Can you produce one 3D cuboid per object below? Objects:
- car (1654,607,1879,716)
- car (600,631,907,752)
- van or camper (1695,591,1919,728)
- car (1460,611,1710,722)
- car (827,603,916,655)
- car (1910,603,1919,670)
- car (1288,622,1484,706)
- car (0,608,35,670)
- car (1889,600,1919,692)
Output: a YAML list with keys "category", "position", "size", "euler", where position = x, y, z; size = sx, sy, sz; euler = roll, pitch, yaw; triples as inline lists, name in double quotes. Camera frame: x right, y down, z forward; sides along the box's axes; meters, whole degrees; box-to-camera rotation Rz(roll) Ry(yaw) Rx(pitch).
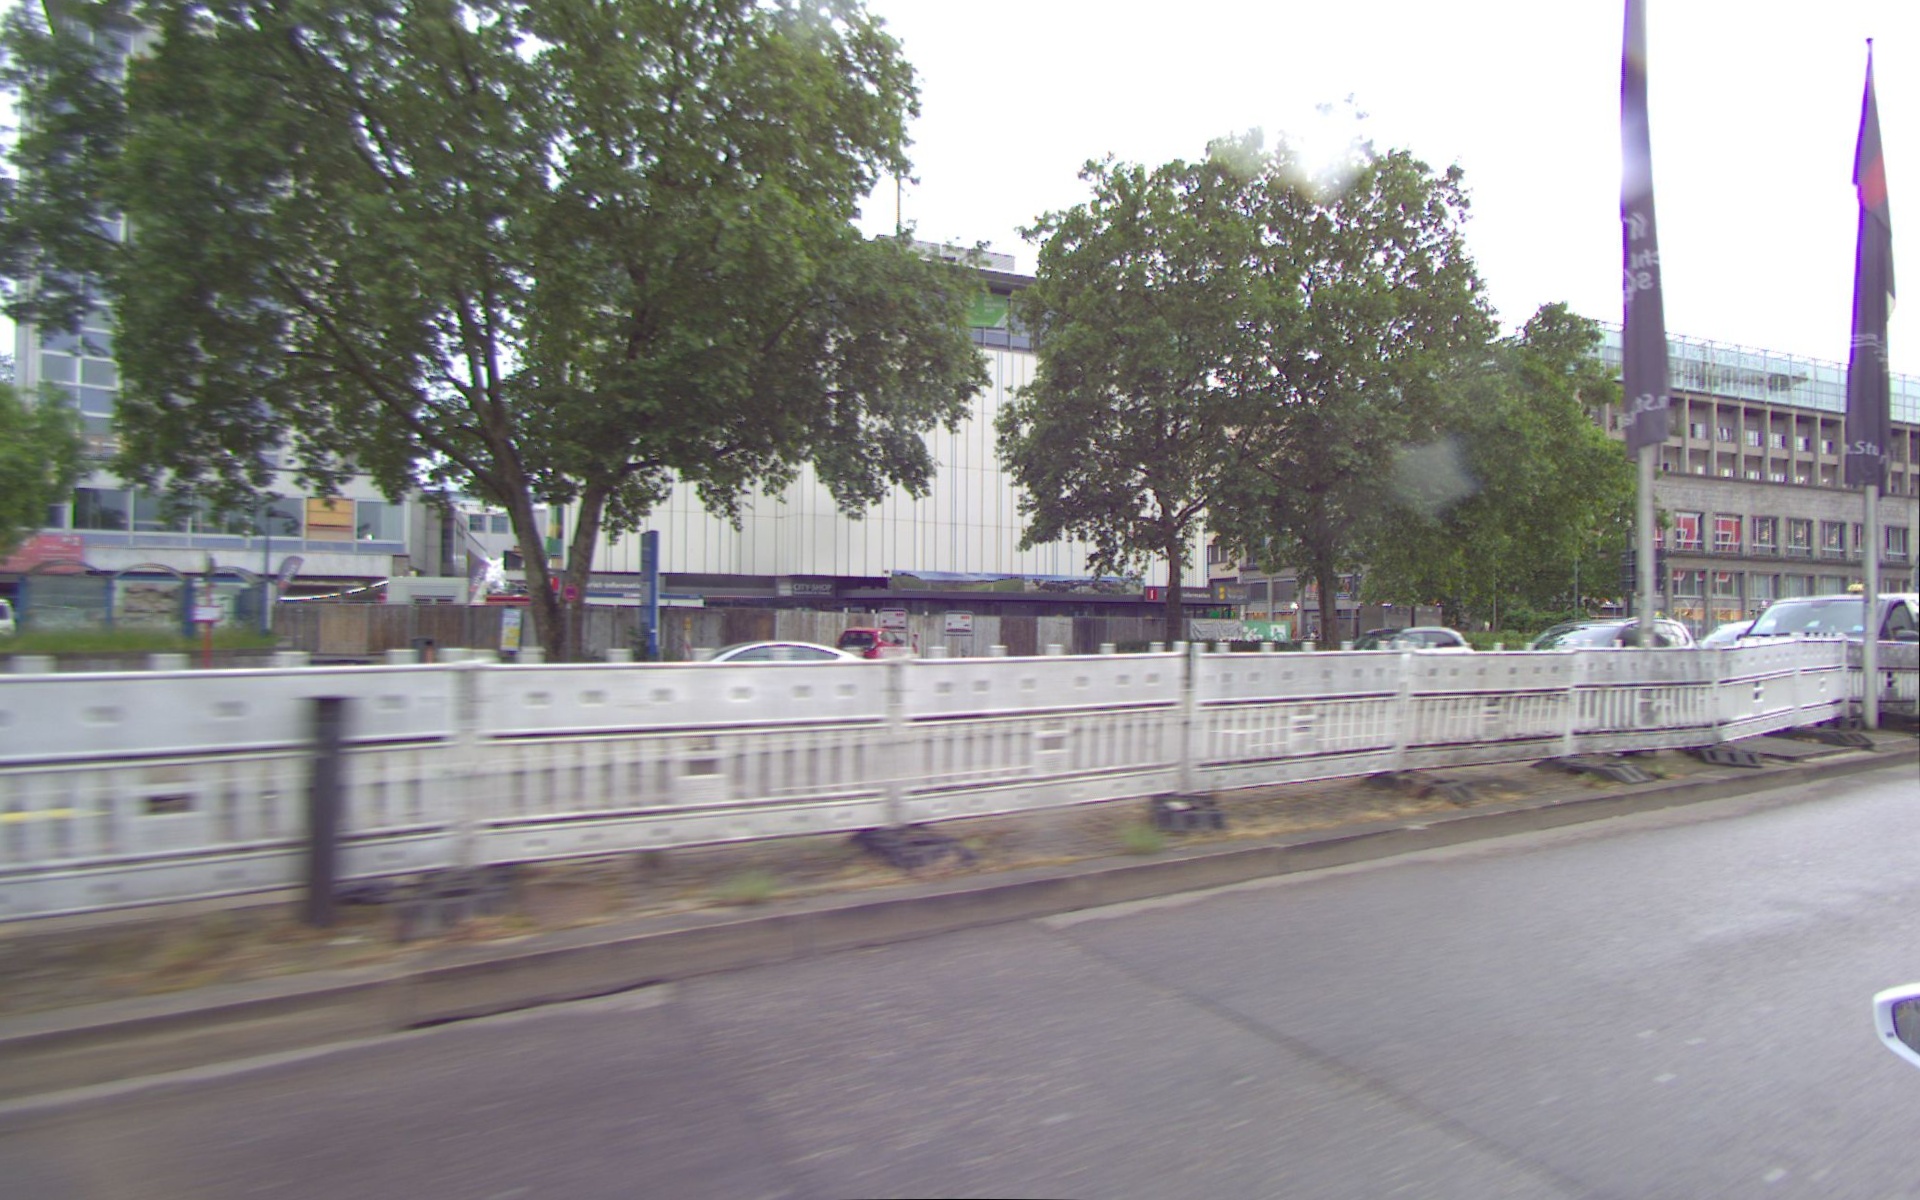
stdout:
- category: "car"
  position: [16.880, 1.188, 21.005]
  size: [4.507, 1.877, 1.907]
  euler: [0, 5, -27]
- category: "car"
  position: [-3.470, 1.433, 16.991]
  size: [4.754, 1.653, 1.987]
  euler: [-1, 1, -26]
- category: "van or camper"
  position: [13.982, 0.811, 15.585]
  size: [5.321, 1.844, 1.939]
  euler: [0, 0, -26]
- category: "car"
  position: [11.251, 1.091, 18.067]
  size: [4.244, 1.725, 1.884]
  euler: [-1, 1, -26]
- category: "car"
  position: [-2.804, 0.929, 32.660]
  size: [1.815, 1.563, 3.747]
  euler: [0, -1, 13]
- category: "car"
  position: [27.335, 0.909, 26.549]
  size: [4.423, 1.745, 1.778]
  euler: [-1, -1, -26]
- category: "car"
  position: [9.981, 1.423, 23.529]
  size: [4.241, 1.725, 1.885]
  euler: [0, 1, -24]
- category: "car"
  position: [-33.428, 1.304, 32.478]
  size: [1.999, 2.040, 4.825]
  euler: [0, 0, 30]
- category: "car"
  position: [21.168, 0.862, 20.252]
  size: [4.747, 1.794, 1.987]
  euler: [-1, -1, -26]
